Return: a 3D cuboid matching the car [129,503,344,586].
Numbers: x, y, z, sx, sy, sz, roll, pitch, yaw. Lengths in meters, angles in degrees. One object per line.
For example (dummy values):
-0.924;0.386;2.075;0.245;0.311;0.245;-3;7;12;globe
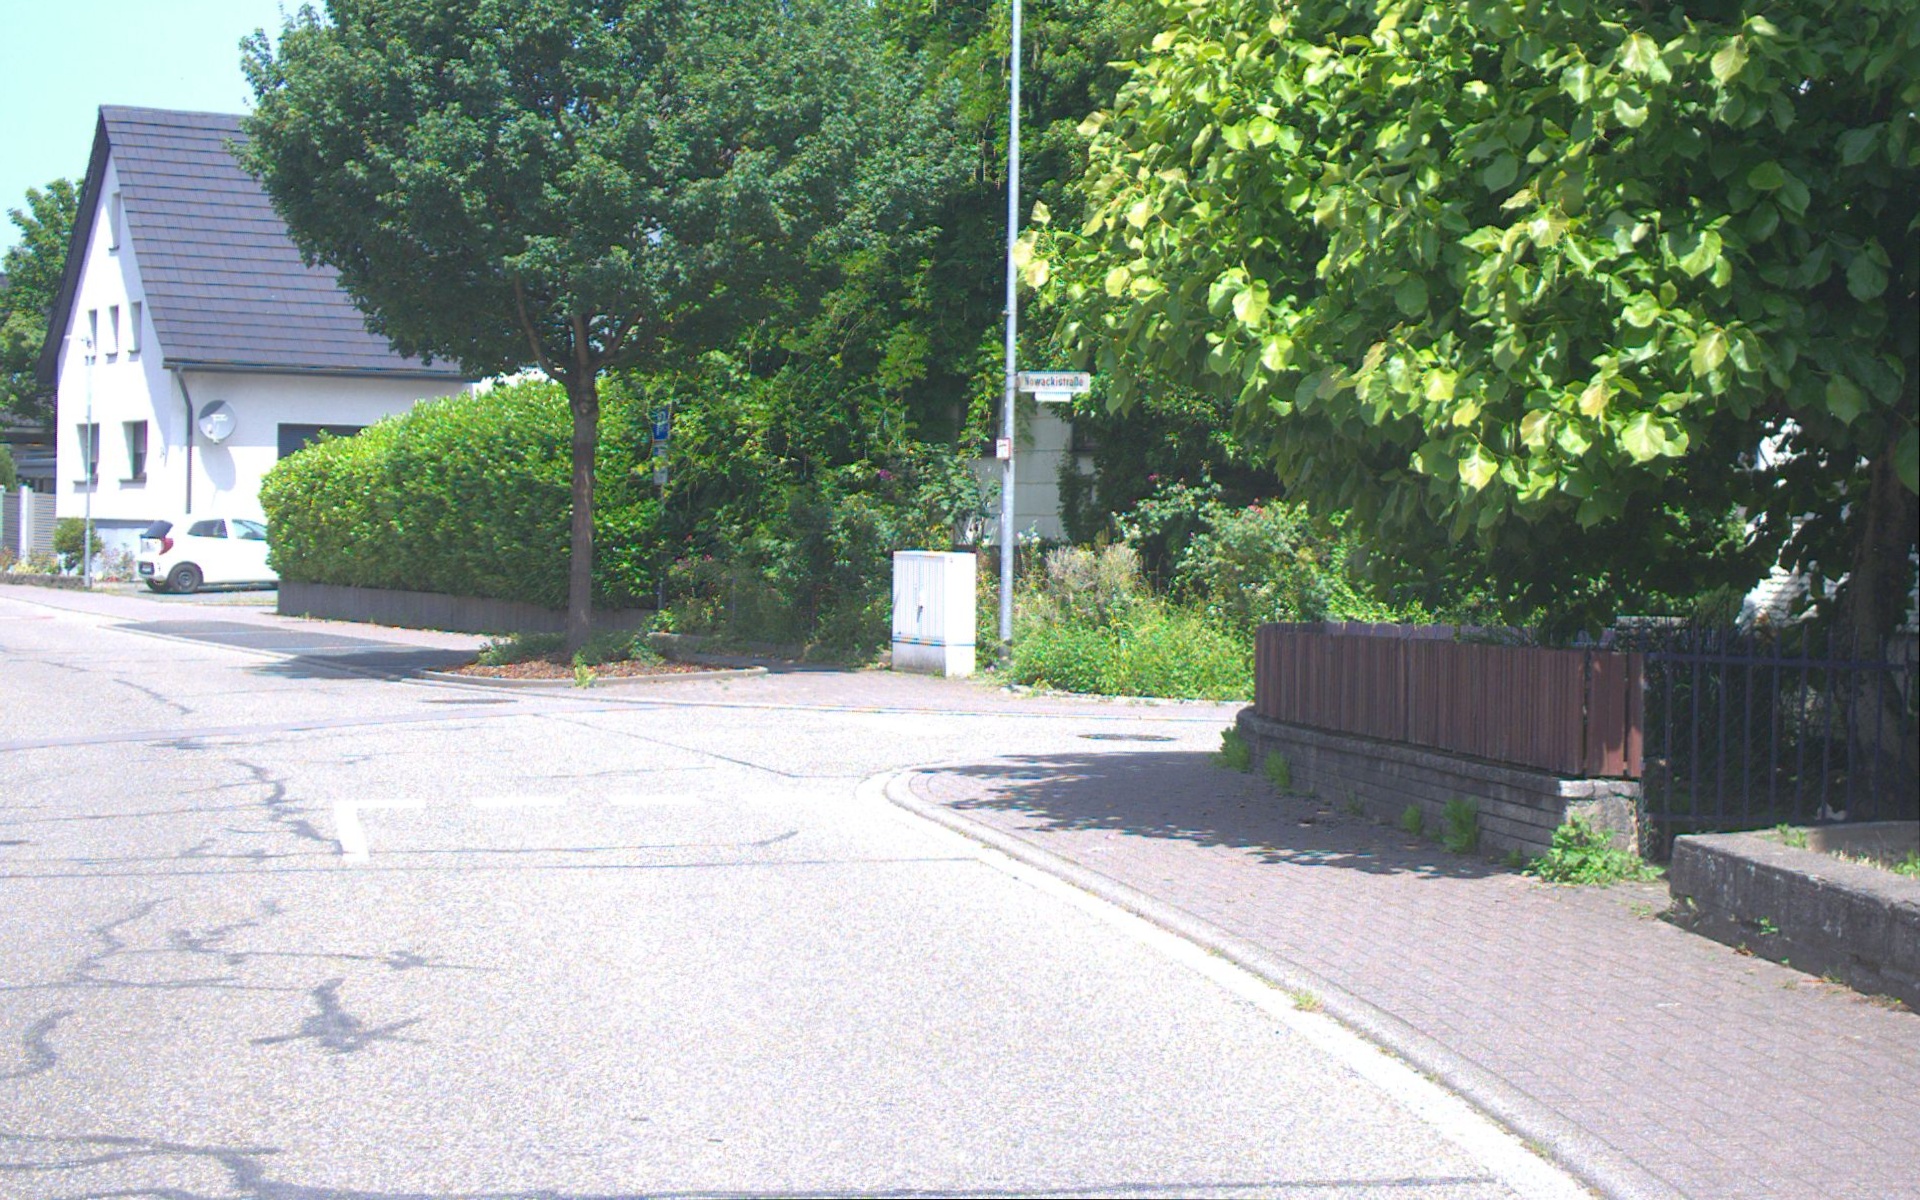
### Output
-13.852;-1.076;65.851;3.657;1.469;1.766;-2;3;-31;car
